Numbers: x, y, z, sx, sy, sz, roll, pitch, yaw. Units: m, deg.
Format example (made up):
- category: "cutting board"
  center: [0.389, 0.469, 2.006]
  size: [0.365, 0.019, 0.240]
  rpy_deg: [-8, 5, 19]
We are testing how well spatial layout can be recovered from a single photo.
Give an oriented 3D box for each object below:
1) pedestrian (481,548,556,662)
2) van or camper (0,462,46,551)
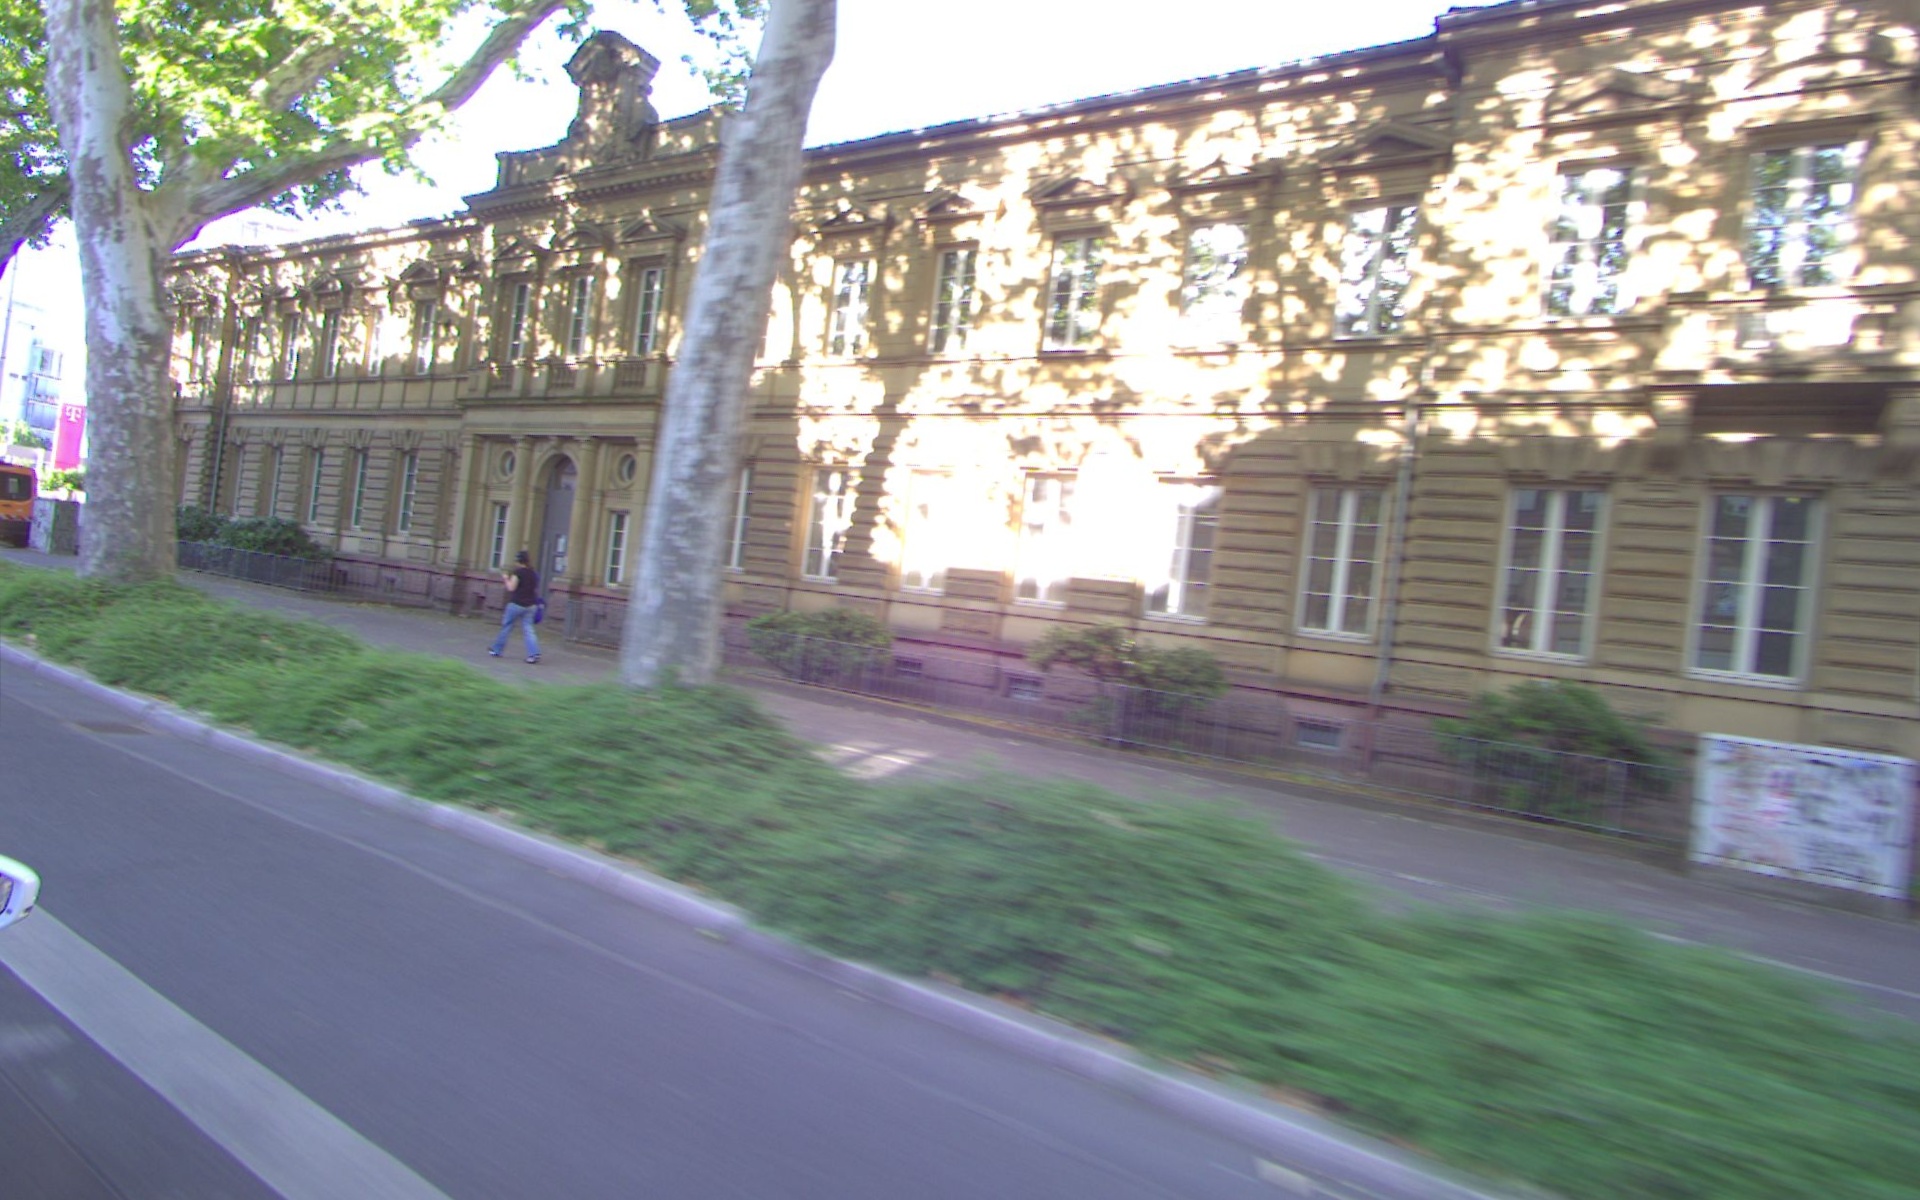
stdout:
- category: "pedestrian"
  center: [-6.831, 0.073, 15.562]
  size: [0.645, 1.651, 0.862]
  rpy_deg: [9, -2, -40]
- category: "van or camper"
  center: [-30.644, -3.073, 31.158]
  size: [5.025, 2.491, 2.031]
  rpy_deg: [6, -2, 33]
